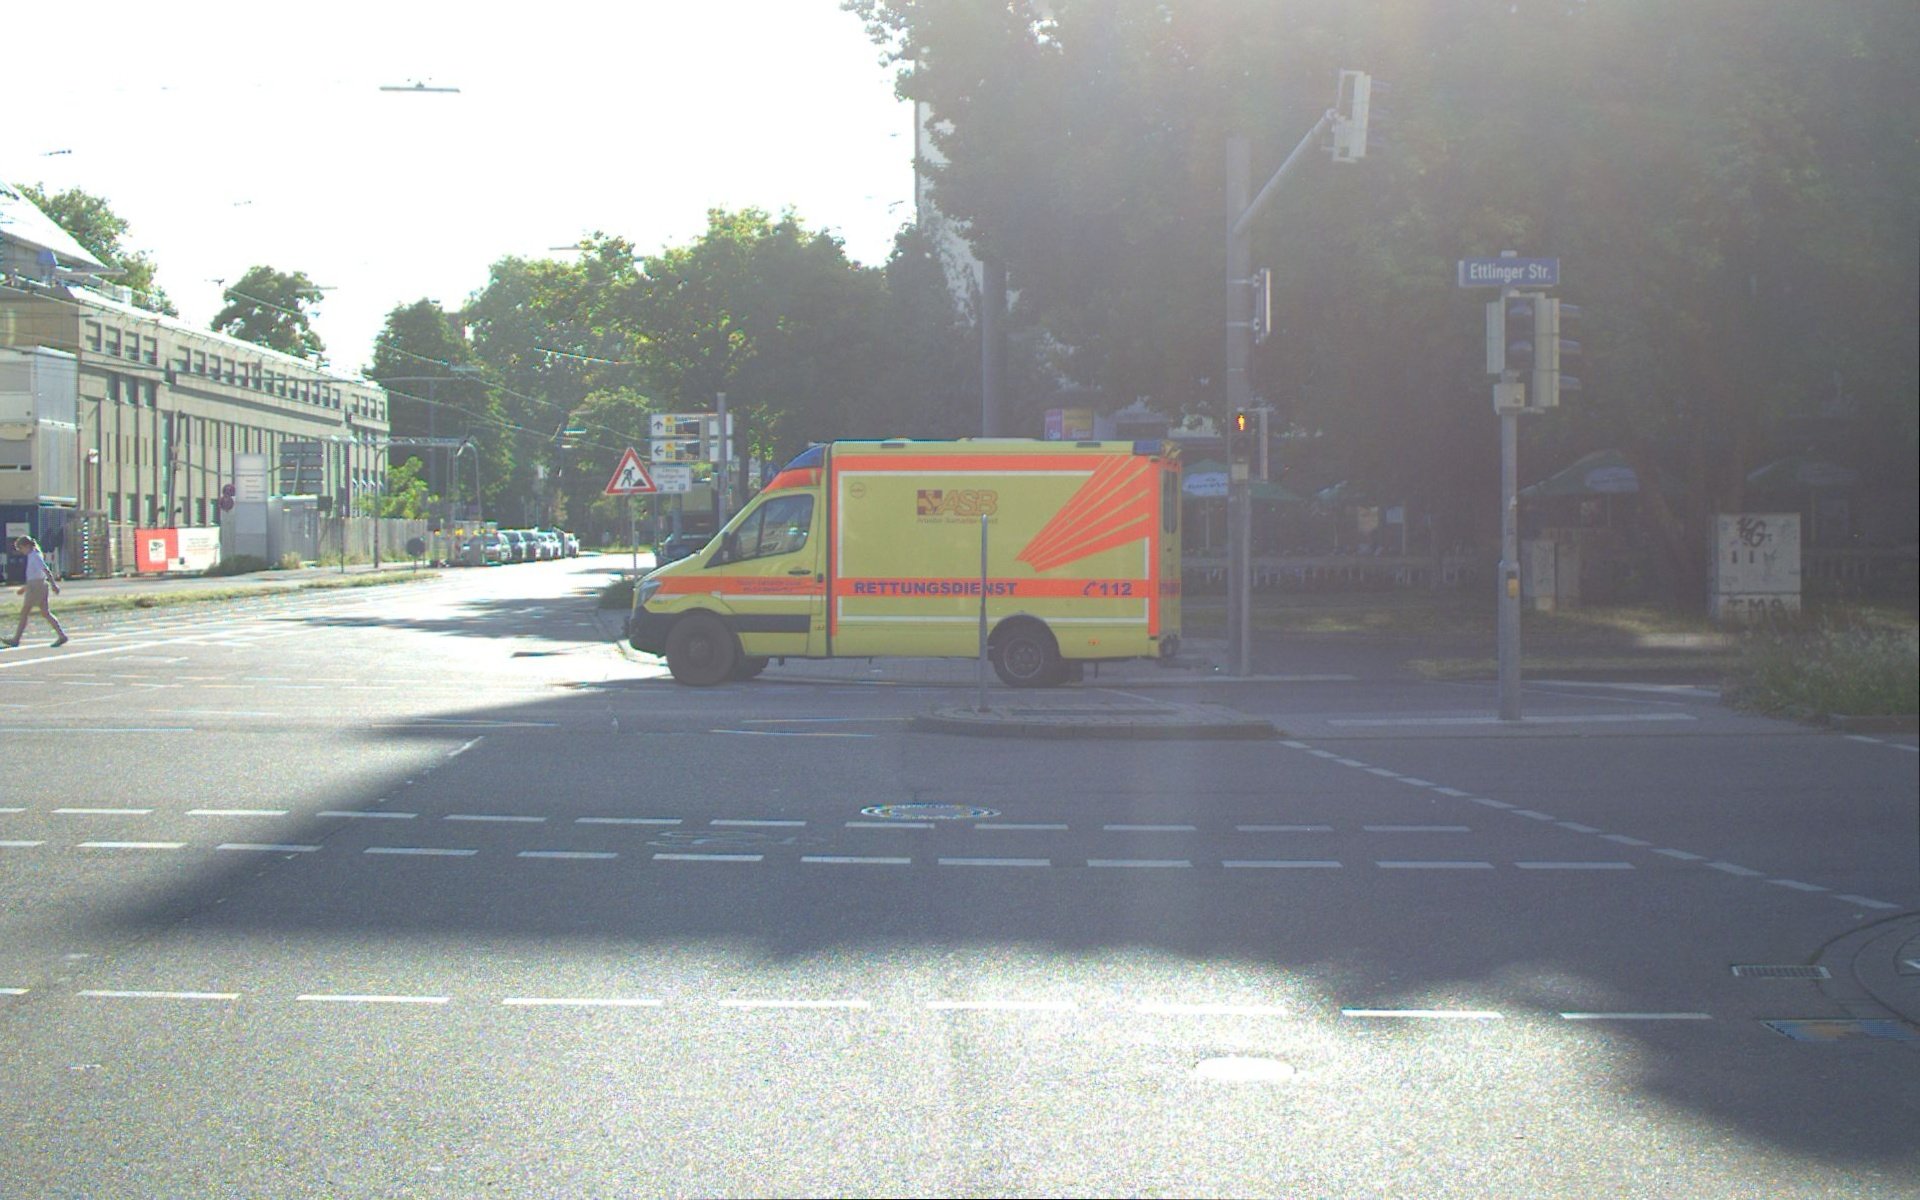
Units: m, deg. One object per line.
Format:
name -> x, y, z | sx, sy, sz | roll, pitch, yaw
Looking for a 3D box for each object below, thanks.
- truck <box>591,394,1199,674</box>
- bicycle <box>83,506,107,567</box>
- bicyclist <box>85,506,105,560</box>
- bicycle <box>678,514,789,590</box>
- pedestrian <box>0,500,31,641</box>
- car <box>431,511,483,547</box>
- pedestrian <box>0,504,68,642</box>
truck -> -0.662, -0.738, 38.793 | 6.470, 3.005, 2.724 | 0, 1, 10
bicycle -> -32.742, -2.410, 130.118 | 0.571, 2.288, 1.422 | 0, 1, -2
bicyclist -> -32.747, -2.526, 130.166 | 0.571, 2.017, 0.762 | 0, 1, -2
bicycle -> -5.352, -1.132, 81.455 | 2.547, 1.737, 1.037 | 1, 0, 0
pedestrian -> -12.501, -0.383, 44.220 | 0.870, 1.797, 0.664 | 0, 1, 5
car -> -22.846, -3.221, 156.314 | 1.894, 1.601, 4.501 | -1, 1, -2
pedestrian -> -12.285, -0.355, 45.343 | 0.870, 1.797, 0.532 | 0, 1, 5
